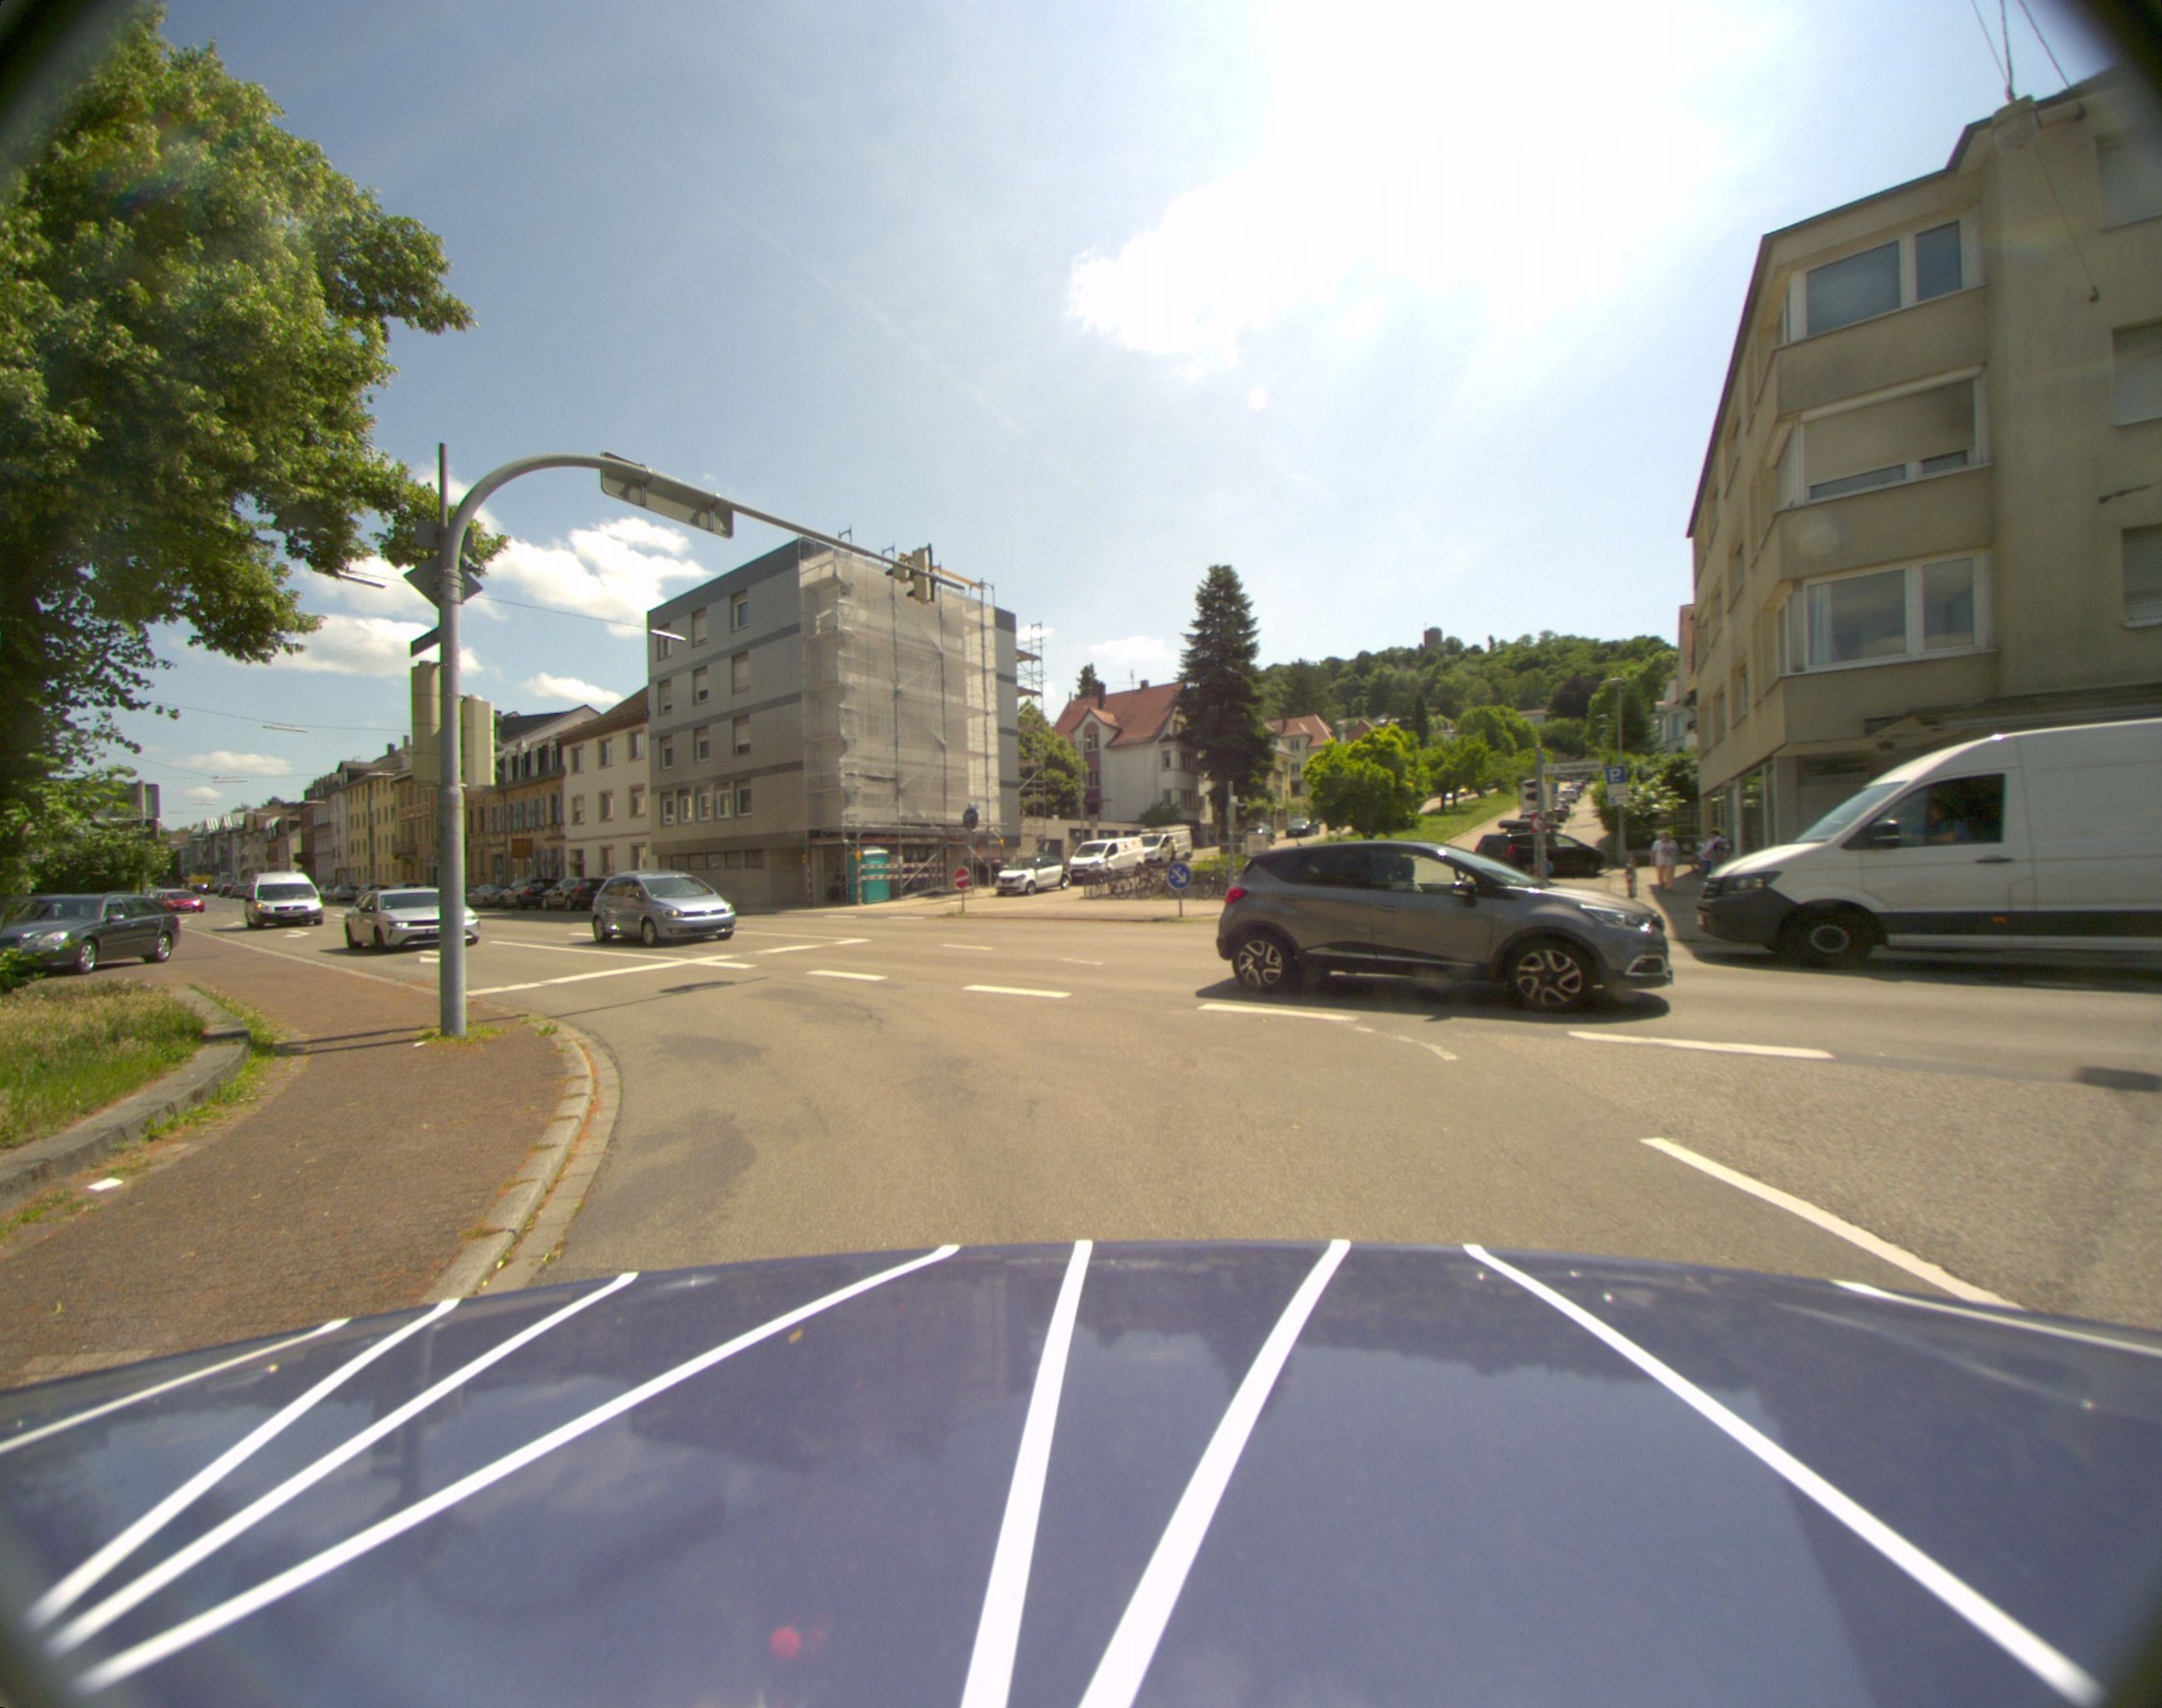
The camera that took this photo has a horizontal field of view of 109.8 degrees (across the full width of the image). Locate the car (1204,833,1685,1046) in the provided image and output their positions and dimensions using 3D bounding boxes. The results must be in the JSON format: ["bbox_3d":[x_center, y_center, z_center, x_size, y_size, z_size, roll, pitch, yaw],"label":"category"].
[{"bbox_3d":[3.482,0.701,7.683,3.989,1.622,1.763,-2,1,35],"label":"car"}]

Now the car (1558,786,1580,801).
[{"bbox_3d":[53.241,-6.565,82.887,1.854,1.413,4.005,-2,4,34],"label":"car"}]

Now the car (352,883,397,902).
[{"bbox_3d":[-59.381,3.206,63.814,4.488,1.542,1.876,-2,-3,36],"label":"car"}]

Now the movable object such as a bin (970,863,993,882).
[{"bbox_3d":[-4.889,0.907,37.304,0.824,0.921,0.742,-2,1,38],"label":"movable object such as a bin"}]

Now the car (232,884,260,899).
[{"bbox_3d":[-93.566,4.223,85.135,4.300,1.565,1.711,-2,-1,38],"label":"car"}]

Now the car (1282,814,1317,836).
[{"bbox_3d":[17.516,-2.333,60.855,1.753,1.439,3.744,-2,4,31],"label":"car"}]

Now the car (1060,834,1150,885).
[{"bbox_3d":[1.278,0.196,36.908,1.995,2.003,5.019,-2,3,32],"label":"car"}]

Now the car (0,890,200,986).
[{"bbox_3d":[-19.299,1.506,14.488,1.843,1.539,5.145,-1,-2,-32],"label":"car"}]

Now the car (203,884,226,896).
[{"bbox_3d":[-121.187,5.015,106.253,4.234,1.485,1.769,-2,-1,36],"label":"car"}]

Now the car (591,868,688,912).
[{"bbox_3d":[-19.721,1.583,33.863,4.775,1.814,1.924,-2,-1,36],"label":"car"}]

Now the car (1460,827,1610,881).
[{"bbox_3d":[15.692,-0.020,26.326,4.331,1.654,1.997,-2,0,-15],"label":"car"}]

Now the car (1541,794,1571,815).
[{"bbox_3d":[38.043,-3.968,60.858,1.854,1.413,4.005,-2,4,34],"label":"car"}]

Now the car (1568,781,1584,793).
[{"bbox_3d":[69.985,-9.471,107.432,1.854,1.413,4.005,-2,4,34],"label":"car"}]

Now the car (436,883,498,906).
[{"bbox_3d":[-39.363,2.599,48.675,4.319,1.397,1.875,-1,-3,34],"label":"car"}]

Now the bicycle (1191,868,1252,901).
[{"bbox_3d":[4.262,0.921,23.126,1.779,0.961,0.399,-2,1,33],"label":"bicycle"}]

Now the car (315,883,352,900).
[{"bbox_3d":[-71.958,3.603,73.122,4.301,1.542,1.876,-2,-3,37],"label":"car"}]

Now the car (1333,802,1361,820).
[{"bbox_3d":[25.194,-4.072,71.840,1.753,1.439,3.744,-2,4,31],"label":"car"}]

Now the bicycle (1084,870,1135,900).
[{"bbox_3d":[0.932,1.040,25.309,1.714,0.961,0.399,-2,1,33],"label":"bicycle"}]

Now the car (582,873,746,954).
[{"bbox_3d":[-9.521,1.267,17.253,3.989,1.559,1.763,-2,1,38],"label":"car"}]

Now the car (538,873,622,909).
[{"bbox_3d":[-24.598,1.783,37.269,4.650,1.631,1.895,-2,-1,36],"label":"car"}]

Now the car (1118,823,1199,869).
[{"bbox_3d":[4.457,-0.475,42.749,2.069,2.165,5.019,-2,4,38],"label":"car"}]

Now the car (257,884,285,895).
[{"bbox_3d":[-104.216,4.579,97.766,4.093,1.402,1.755,-1,-3,34],"label":"car"}]

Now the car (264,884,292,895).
[{"bbox_3d":[-99.835,4.424,94.466,4.093,1.402,1.755,-1,-3,34],"label":"car"}]

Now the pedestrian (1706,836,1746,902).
[{"bbox_3d":[14.778,0.329,17.414,0.646,1.467,0.689,-2,1,38],"label":"pedestrian"}]

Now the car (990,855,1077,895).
[{"bbox_3d":[-1.974,0.881,32.541,1.753,1.439,3.746,-2,1,34],"label":"car"}]

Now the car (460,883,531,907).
[{"bbox_3d":[-34.885,2.415,45.241,4.824,1.397,1.875,-1,-3,34],"label":"car"}]

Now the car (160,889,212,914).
[{"bbox_3d":[-60.187,3.154,51.078,3.773,1.470,1.766,-2,2,34],"label":"car"}]

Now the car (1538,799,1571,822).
[{"bbox_3d":[34.847,-3.196,55.902,1.854,1.413,4.005,-2,4,34],"label":"car"}]

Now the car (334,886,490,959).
[{"bbox_3d":[-16.492,1.593,18.671,4.475,1.489,1.910,-2,0,36],"label":"car"}]

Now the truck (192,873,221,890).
[{"bbox_3d":[-141.136,4.447,122.628,8.046,2.724,2.330,-2,0,36],"label":"truck"}]

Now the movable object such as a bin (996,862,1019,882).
[{"bbox_3d":[-3.492,0.854,36.100,0.702,0.921,0.742,-2,1,38],"label":"movable object such as a bin"}]

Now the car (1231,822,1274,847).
[{"bbox_3d":[11.905,-1.371,52.731,1.753,1.439,3.744,-2,4,31],"label":"car"}]

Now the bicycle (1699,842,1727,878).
[{"bbox_3d":[19.065,0.174,22.952,0.497,1.021,1.746,-2,1,36],"label":"bicycle"}]

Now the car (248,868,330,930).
[{"bbox_3d":[-32.511,1.773,31.128,5.656,2.261,1.910,-2,0,40],"label":"car"}]

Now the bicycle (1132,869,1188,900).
[{"bbox_3d":[2.520,0.970,24.319,1.741,0.961,0.399,-2,1,33],"label":"bicycle"}]

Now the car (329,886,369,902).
[{"bbox_3d":[-66.678,3.612,69.193,4.673,1.442,1.916,-2,-4,37],"label":"car"}]

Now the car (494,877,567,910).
[{"bbox_3d":[-29.676,2.080,40.941,4.804,1.631,1.895,-2,-1,38],"label":"car"}]

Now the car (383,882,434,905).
[{"bbox_3d":[-50.249,2.931,56.756,4.488,1.617,1.875,-2,-3,36],"label":"car"}]

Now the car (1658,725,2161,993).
[{"bbox_3d":[10.809,0.075,7.828,7.534,2.485,2.228,-2,-3,33],"label":"car"}]

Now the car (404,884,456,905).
[{"bbox_3d":[-46.167,2.853,53.841,4.319,1.417,1.876,-2,-3,37],"label":"car"}]

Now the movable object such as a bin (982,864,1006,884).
[{"bbox_3d":[-4.171,0.954,36.611,0.824,0.921,0.742,-2,1,38],"label":"movable object such as a bin"}]

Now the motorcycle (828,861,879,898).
[{"bbox_3d":[-9.785,1.082,32.744,2.044,1.463,0.881,-3,1,-15],"label":"motorcycle"}]

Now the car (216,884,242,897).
[{"bbox_3d":[-102.598,4.435,91.481,4.122,1.469,1.711,-2,-1,38],"label":"car"}]

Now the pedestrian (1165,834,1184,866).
[{"bbox_3d":[5.106,-0.215,41.507,0.741,1.704,0.713,-2,1,39],"label":"pedestrian"}]

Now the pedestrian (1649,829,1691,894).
[{"bbox_3d":[15.272,0.189,19.704,0.820,1.623,0.806,-2,1,38],"label":"pedestrian"}]

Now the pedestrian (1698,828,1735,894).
[{"bbox_3d":[15.990,0.163,19.131,0.646,1.623,0.689,-2,1,38],"label":"pedestrian"}]
